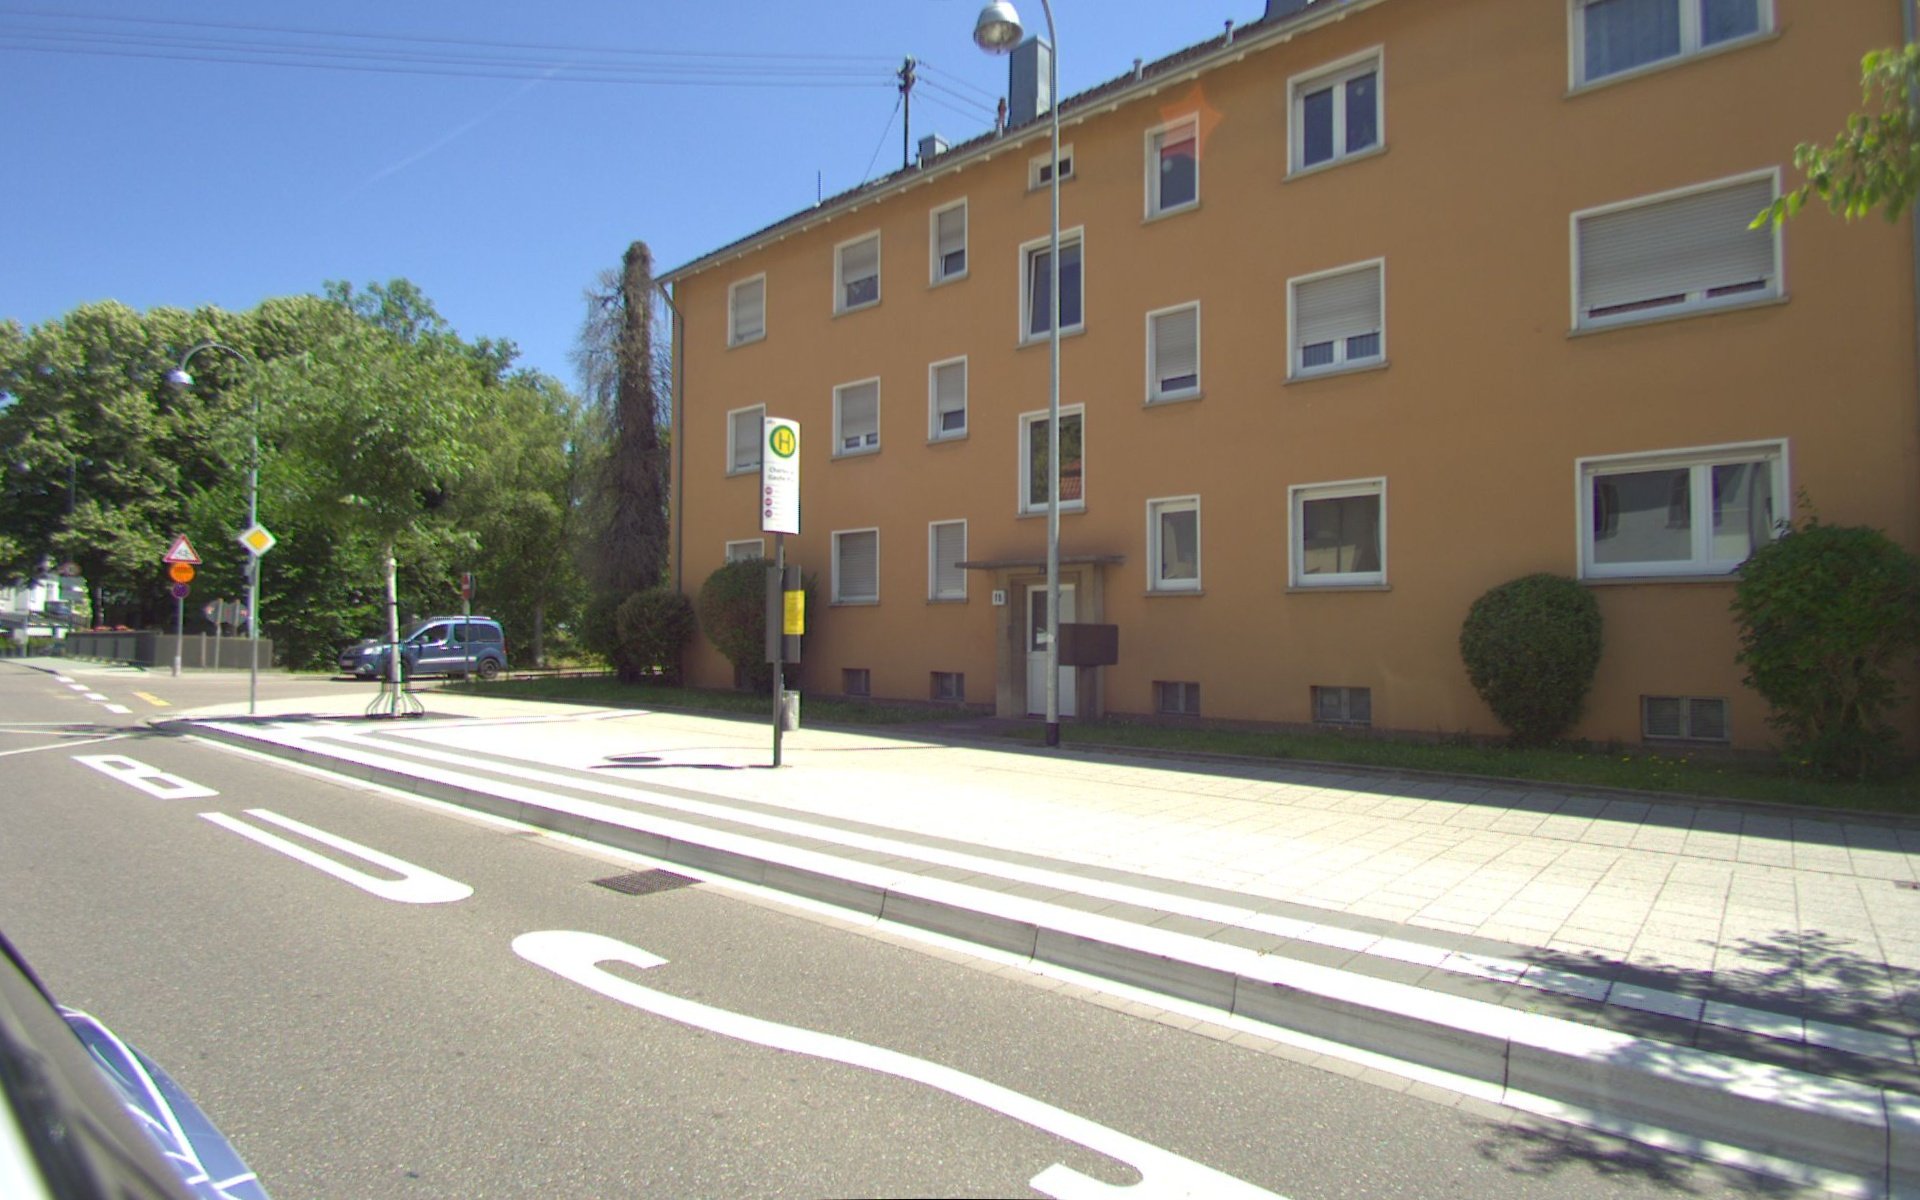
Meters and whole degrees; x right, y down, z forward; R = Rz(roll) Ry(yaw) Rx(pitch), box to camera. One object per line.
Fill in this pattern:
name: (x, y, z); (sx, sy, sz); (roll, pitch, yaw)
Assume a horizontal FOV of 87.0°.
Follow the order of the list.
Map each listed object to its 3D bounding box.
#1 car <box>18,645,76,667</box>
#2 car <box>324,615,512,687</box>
car: (-73.882, 4.570, 81.902); (3.975, 1.729, 1.984); (-2, -5, 24)
car: (-15.347, 1.459, 28.910); (1.812, 1.888, 4.392); (-1, -3, 30)
